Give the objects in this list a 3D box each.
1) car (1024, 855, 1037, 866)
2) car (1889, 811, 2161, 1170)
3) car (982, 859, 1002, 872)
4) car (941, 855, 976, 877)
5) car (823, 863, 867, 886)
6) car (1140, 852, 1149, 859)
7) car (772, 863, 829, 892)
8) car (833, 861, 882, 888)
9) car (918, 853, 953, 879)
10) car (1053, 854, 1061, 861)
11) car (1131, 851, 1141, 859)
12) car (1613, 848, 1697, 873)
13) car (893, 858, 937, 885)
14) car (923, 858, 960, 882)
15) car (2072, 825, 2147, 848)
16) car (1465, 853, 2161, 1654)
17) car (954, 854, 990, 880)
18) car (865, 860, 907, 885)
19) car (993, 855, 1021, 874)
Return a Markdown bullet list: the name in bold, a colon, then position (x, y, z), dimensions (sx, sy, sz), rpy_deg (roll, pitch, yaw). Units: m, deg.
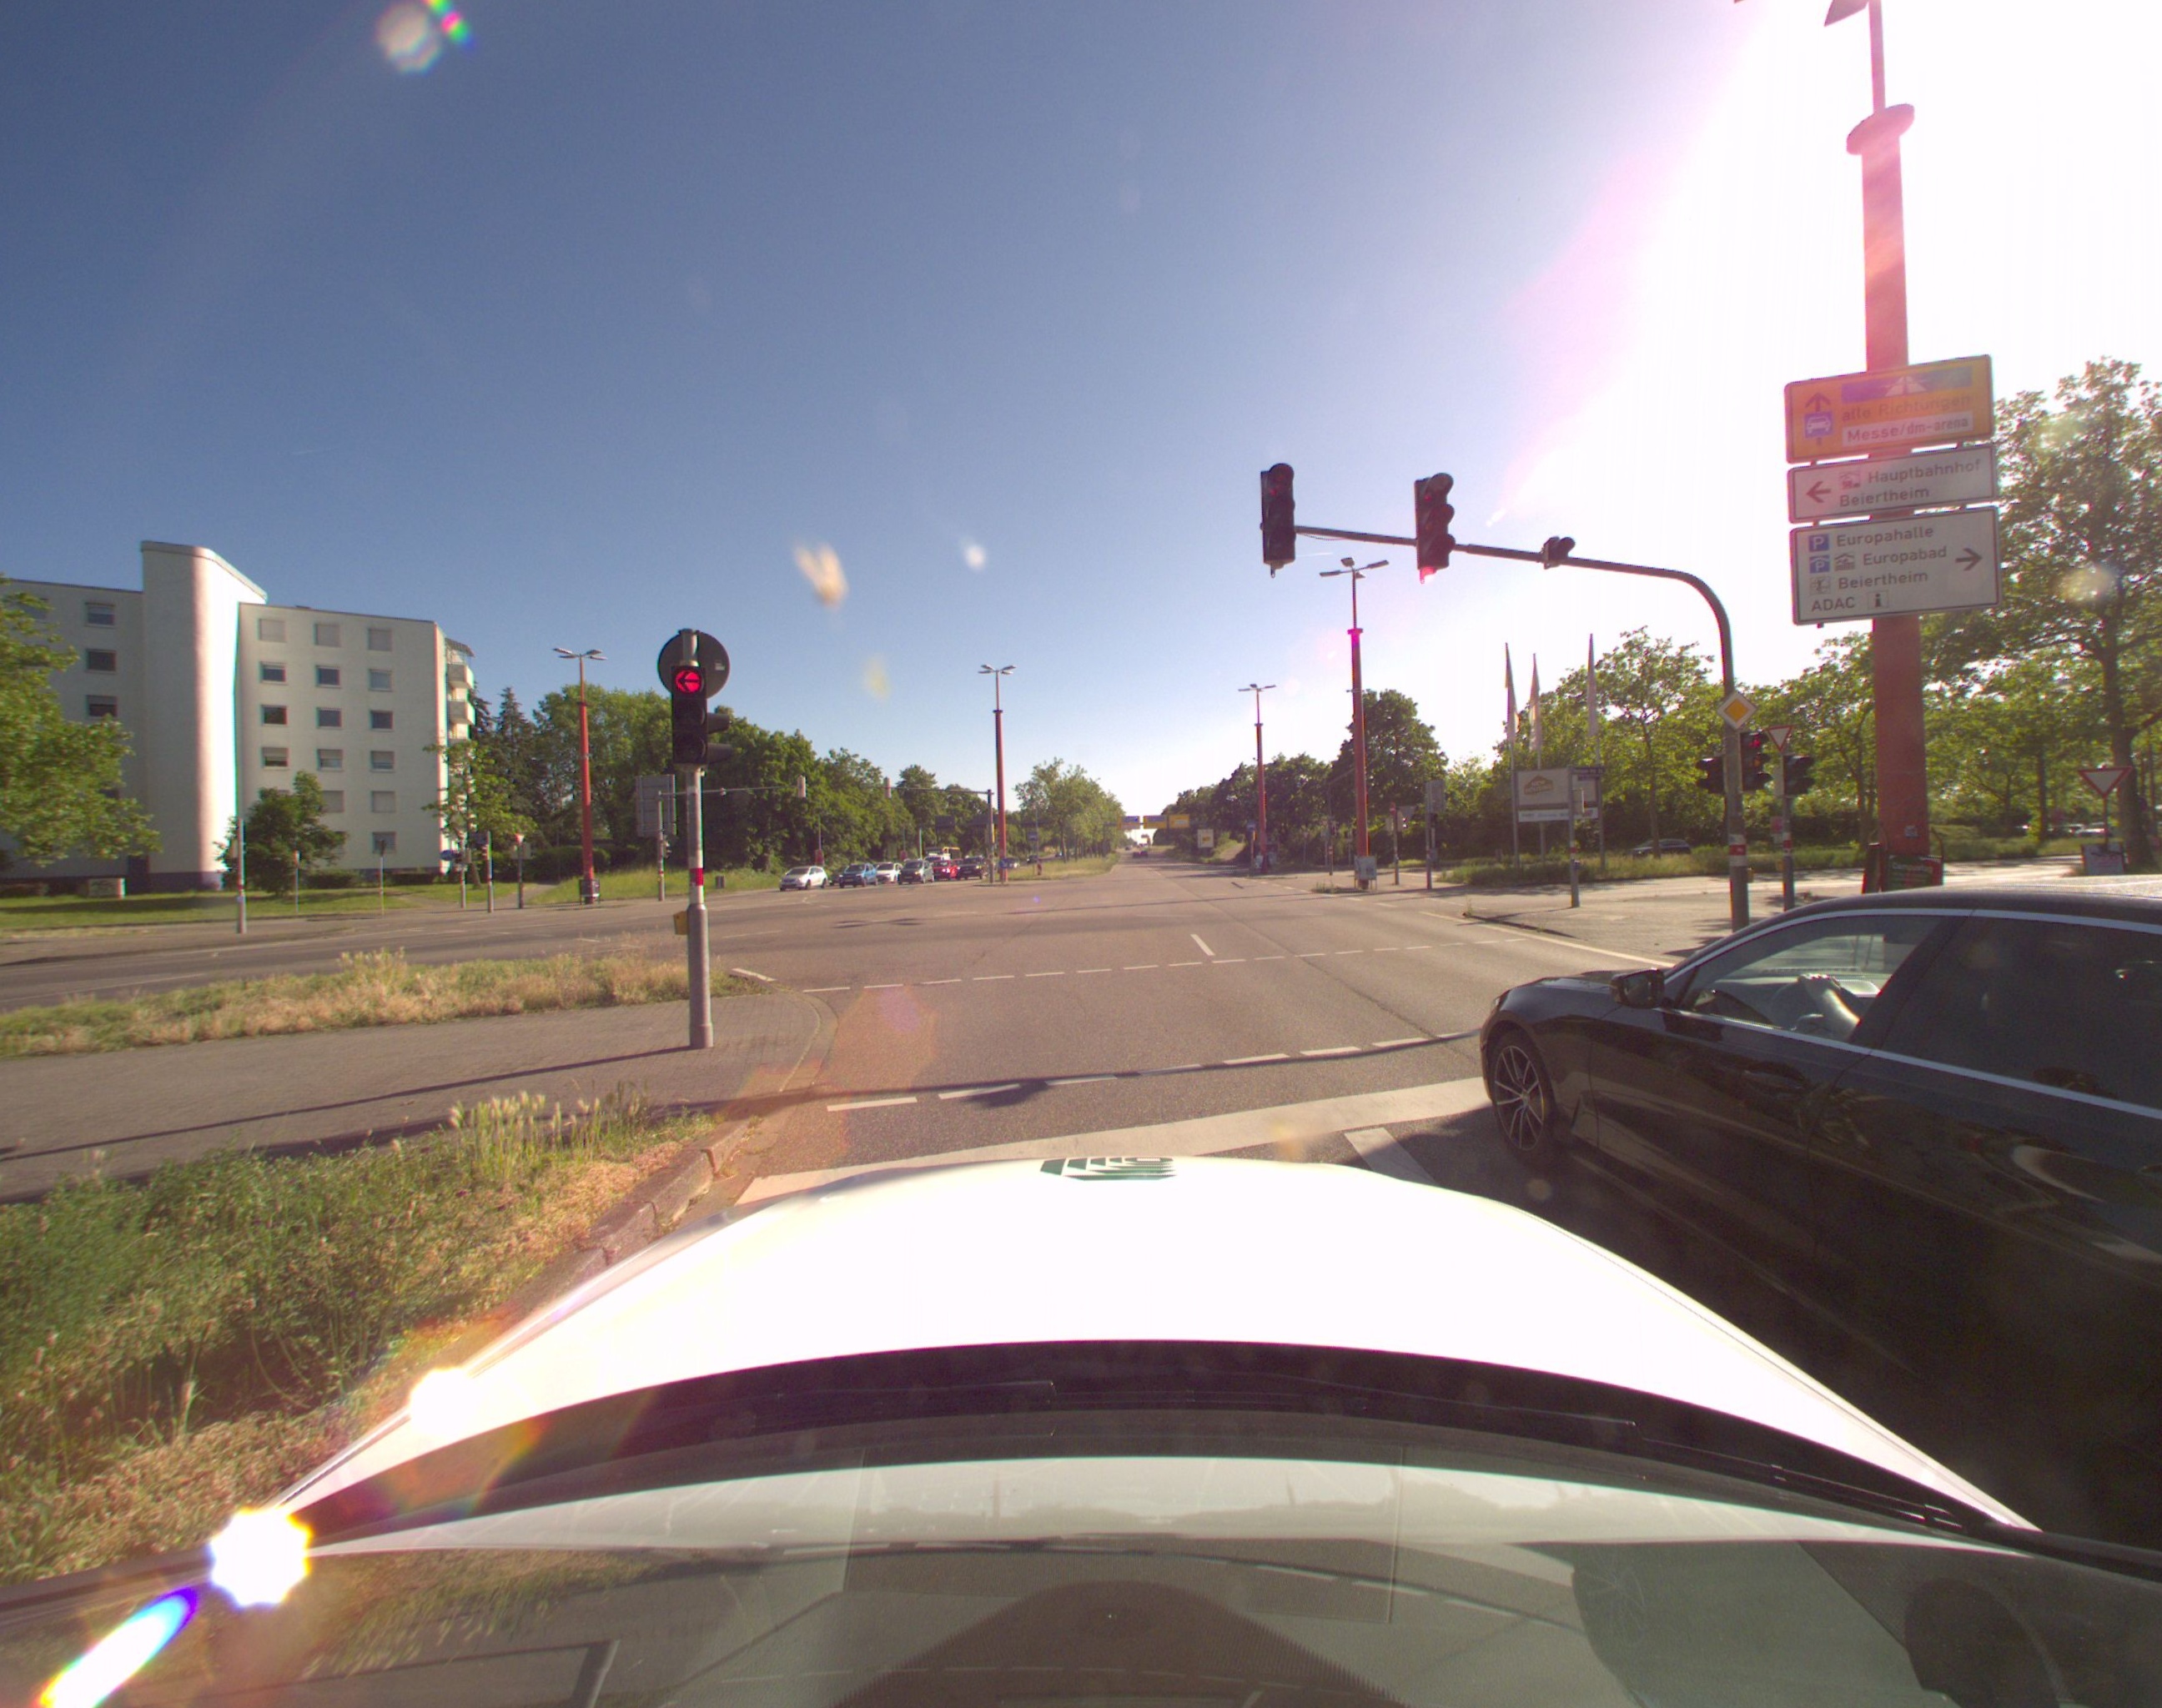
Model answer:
- **car**: position (-9.053, 1.143, 145.638), dimensions (1.830, 1.837, 3.962), rpy_deg (-2, 0, 2)
- **car**: position (5.665, 0.600, 2.964), dimensions (1.709, 1.608, 3.849), rpy_deg (0, -1, 2)
- **car**: position (-11.092, 1.406, 101.494), dimensions (1.878, 1.543, 4.002), rpy_deg (-3, 0, 2)
- **car**: position (-9.736, 0.935, 65.027), dimensions (1.893, 1.630, 4.003), rpy_deg (-1, 0, 3)
- **car**: position (-17.547, 1.504, 60.686), dimensions (1.877, 1.513, 4.003), rpy_deg (-3, 0, 3)
- **car**: position (14.995, 0.356, 193.637), dimensions (1.986, 1.733, 4.001), rpy_deg (0, -1, 2)
- **car**: position (-17.634, 1.425, 51.424), dimensions (1.869, 1.652, 4.222), rpy_deg (-3, -1, 3)
- **car**: position (-14.127, 1.288, 51.623), dimensions (1.794, 1.515, 3.861), rpy_deg (-3, 0, 2)
- **car**: position (-12.712, 1.001, 71.308), dimensions (1.954, 2.155, 5.083), rpy_deg (-2, 0, 1)
- **car**: position (-6.717, 0.940, 229.208), dimensions (1.913, 1.999, 4.605), rpy_deg (-2, 0, 1)
- **car**: position (12.307, 0.331, 182.386), dimensions (1.986, 1.733, 4.001), rpy_deg (0, -1, 2)
- **car**: position (38.222, 0.455, 54.332), dimensions (4.255, 1.635, 1.776), rpy_deg (-1, -1, 12)
- **car**: position (-10.686, 1.081, 52.703), dimensions (1.867, 1.550, 4.029), rpy_deg (-3, 0, 2)
- **car**: position (-10.057, 1.126, 59.030), dimensions (1.869, 1.552, 4.000), rpy_deg (-5, 0, 0)
- **car**: position (81.923, -1.403, 64.886), dimensions (4.281, 1.635, 1.765), rpy_deg (-2, 0, -8)
- **car**: position (2.875, 0.719, 2.324), dimensions (1.756, 1.441, 4.299), rpy_deg (0, 0, 4)
- **car**: position (-7.518, 0.859, 56.709), dimensions (1.787, 1.626, 4.144), rpy_deg (-3, 0, 1)
- **car**: position (-13.764, 1.289, 57.769), dimensions (1.895, 1.555, 4.000), rpy_deg (-3, 0, 0)
- **car**: position (-6.501, 0.922, 71.579), dimensions (1.878, 1.543, 4.002), rpy_deg (-3, 0, 2)
